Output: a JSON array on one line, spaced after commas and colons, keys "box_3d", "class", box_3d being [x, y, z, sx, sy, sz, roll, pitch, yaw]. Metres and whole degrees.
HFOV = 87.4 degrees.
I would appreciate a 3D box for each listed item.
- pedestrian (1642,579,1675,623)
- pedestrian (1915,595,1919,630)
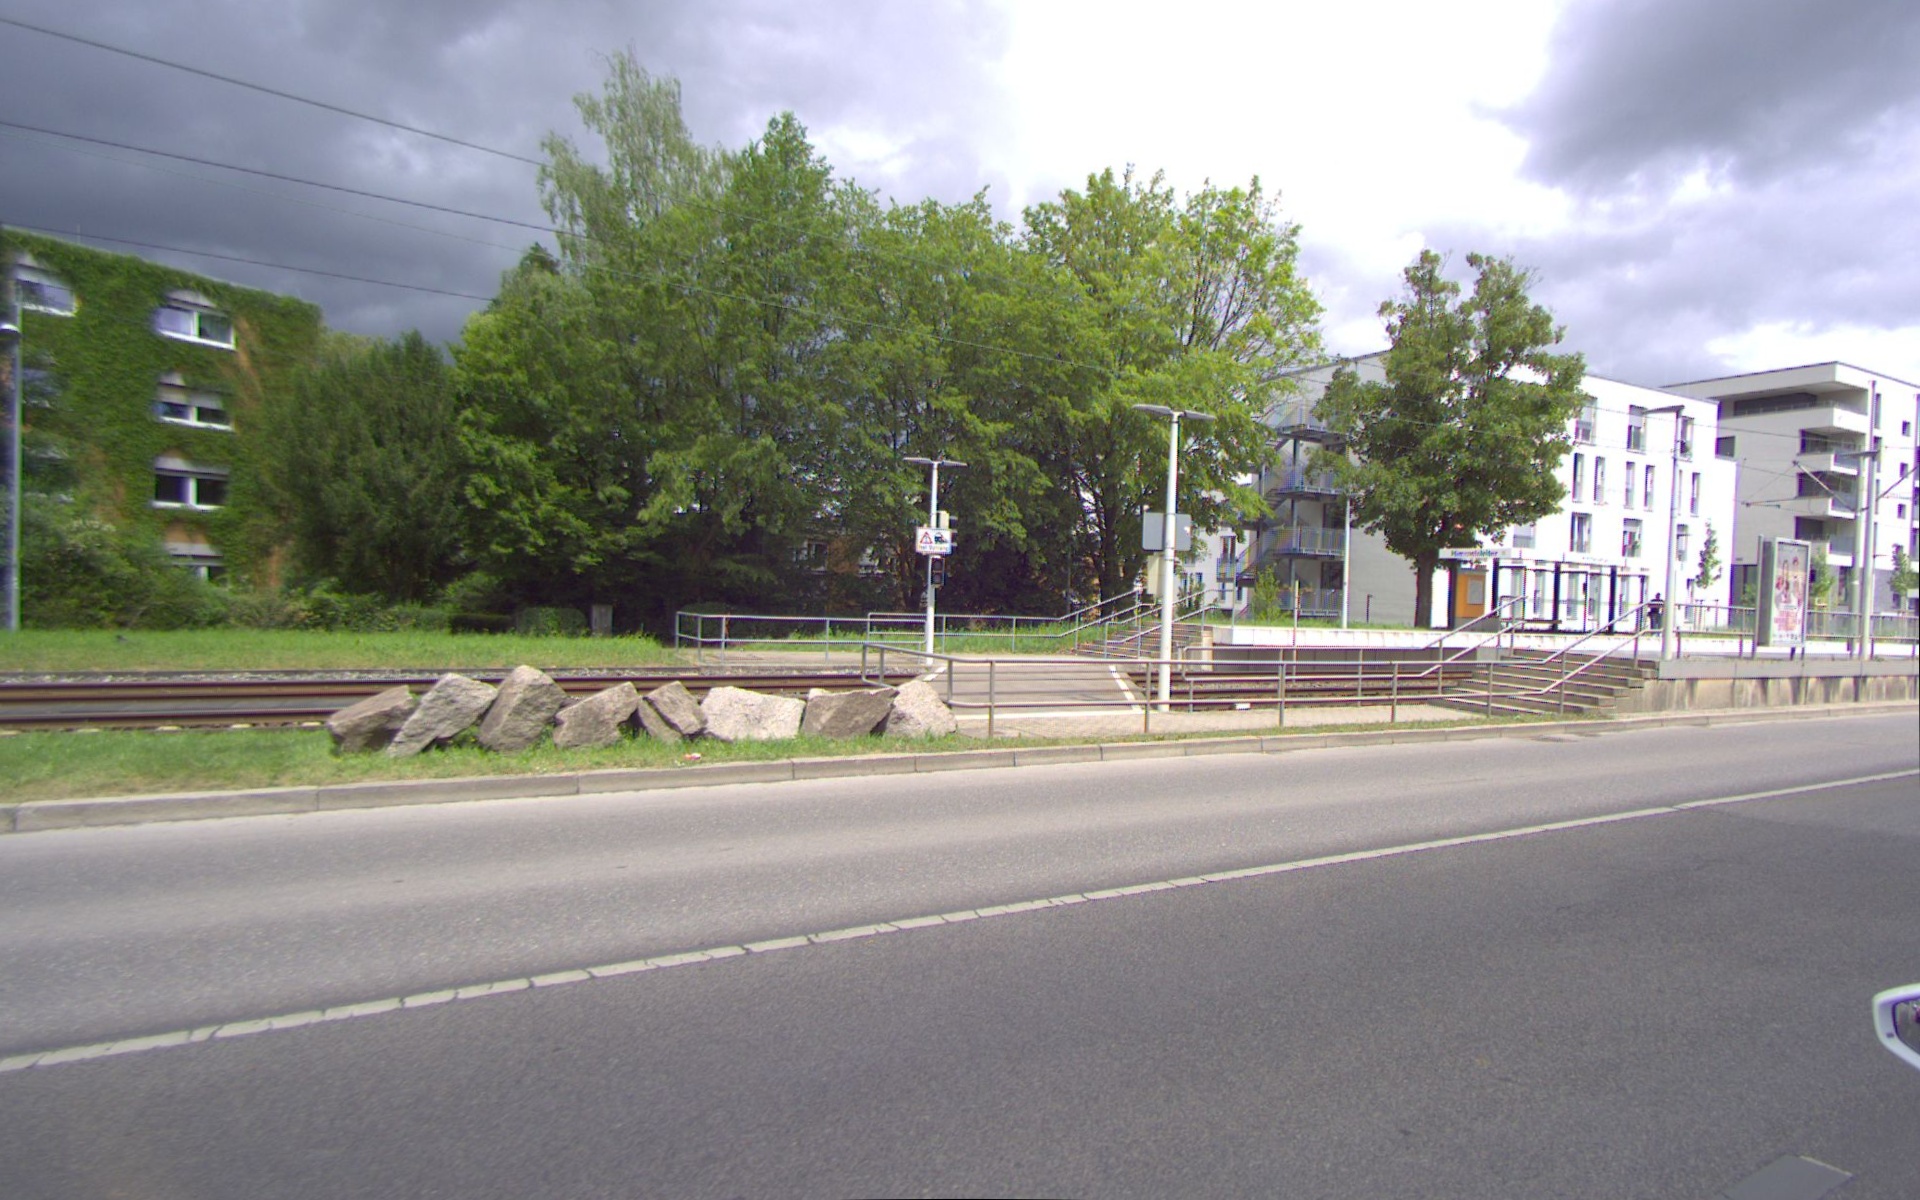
[{"box_3d": [25.118, 0.041, 36.128, 0.539, 1.551, 0.739, 2, 1, -25], "class": "pedestrian"}, {"box_3d": [48.580, 0.647, 50.581, 0.480, 1.748, 0.677, 2, 1, 27], "class": "pedestrian"}]
